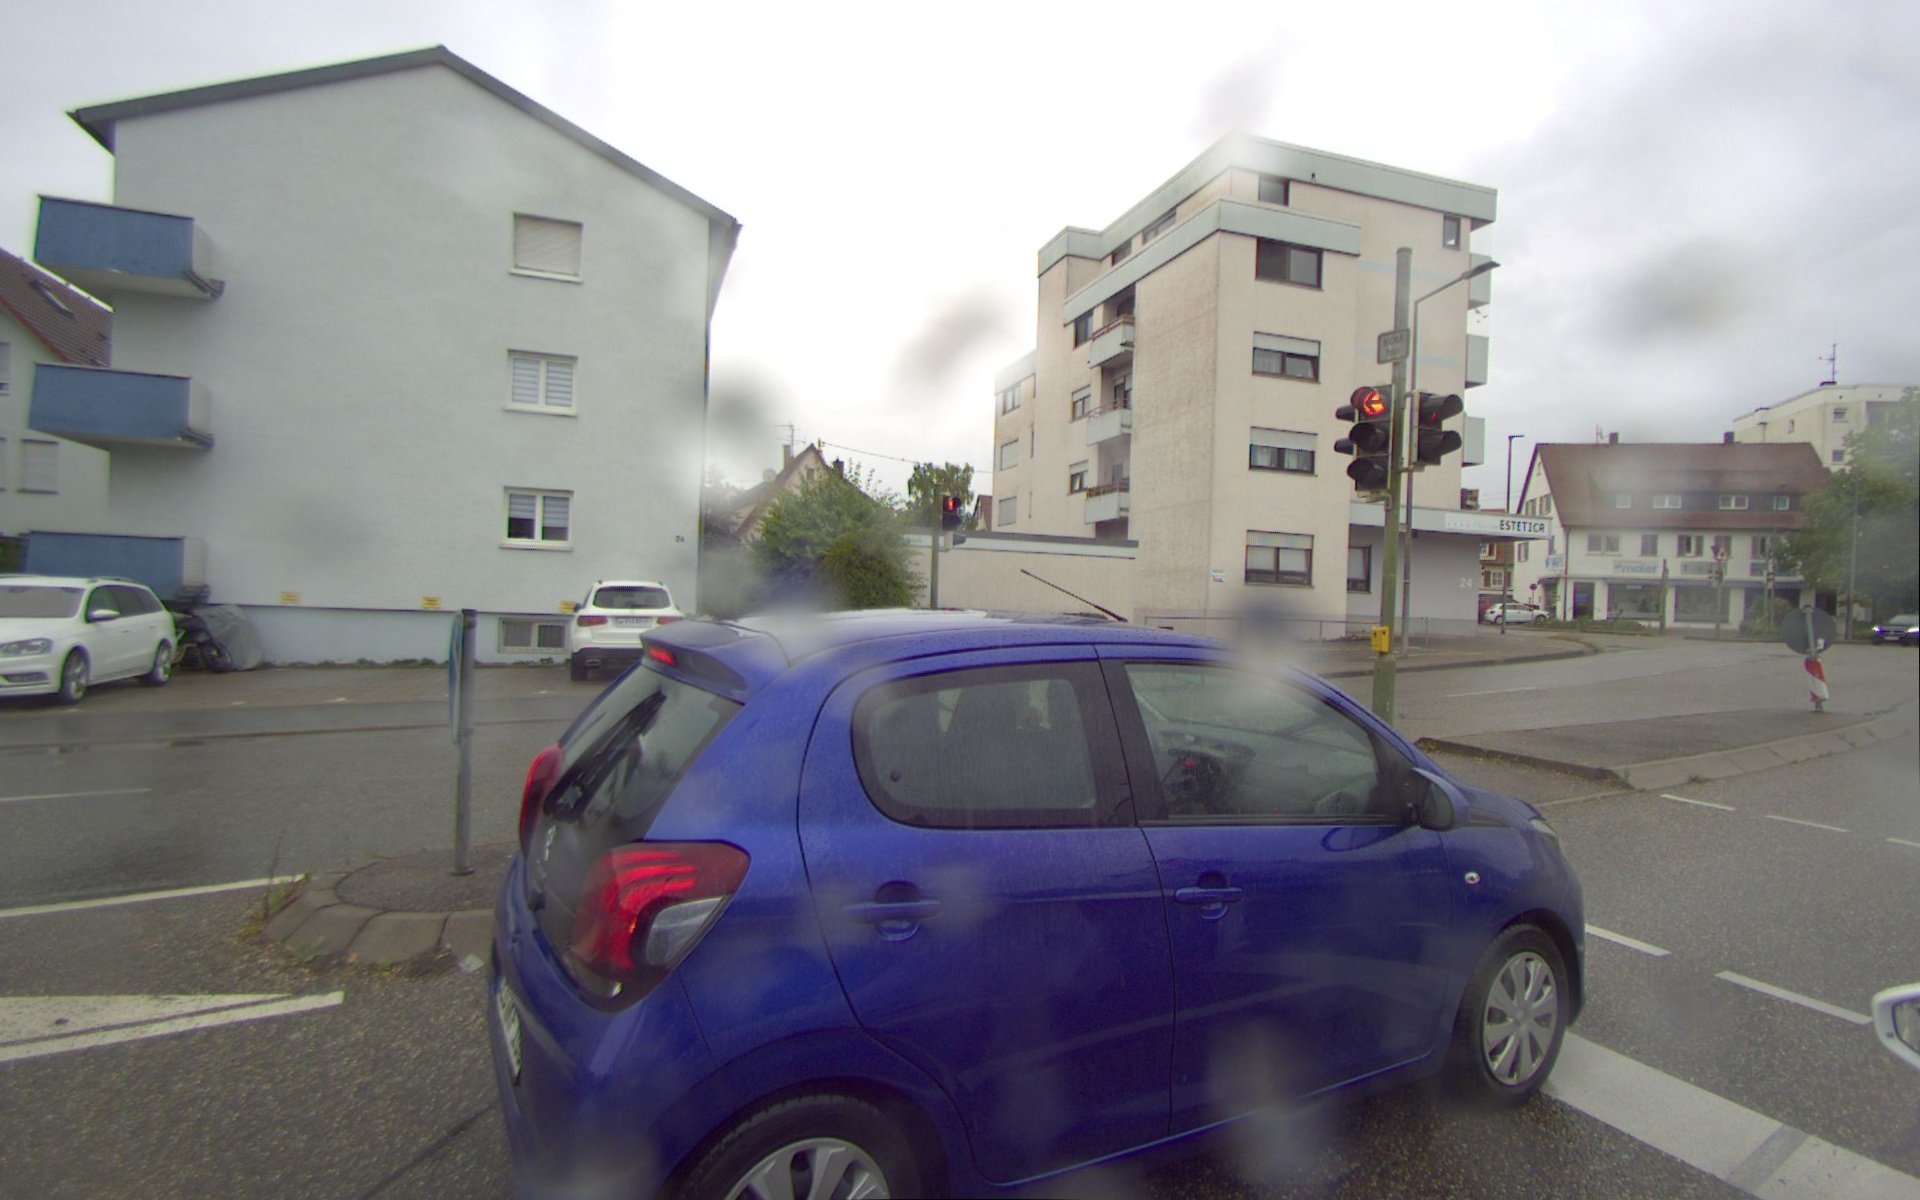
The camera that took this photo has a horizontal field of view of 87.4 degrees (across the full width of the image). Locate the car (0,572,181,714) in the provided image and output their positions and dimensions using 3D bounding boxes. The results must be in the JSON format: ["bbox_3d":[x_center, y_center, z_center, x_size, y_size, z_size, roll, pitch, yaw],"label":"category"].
[{"bbox_3d":[-11.367,0.441,12.309,1.878,1.493,4.209,1,0,-24],"label":"car"}]

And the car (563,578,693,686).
[{"bbox_3d":[-5.900,0.499,17.831,1.909,1.658,4.446,1,0,-19],"label":"car"}]

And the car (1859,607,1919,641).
[{"bbox_3d":[42.329,1.066,45.152,3.785,1.439,1.770,1,0,-30],"label":"car"}]

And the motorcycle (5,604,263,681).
[{"bbox_3d":[-13.117,0.637,16.082,0.864,1.115,3.113,2,1,43],"label":"motorcycle"}]

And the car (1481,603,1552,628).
[{"bbox_3d":[38.092,1.023,68.838,3.887,1.593,1.873,1,1,17],"label":"car"}]

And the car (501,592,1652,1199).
[{"bbox_3d":[0.423,0.732,3.107,3.231,1.429,1.571,1,1,-30],"label":"car"}]
